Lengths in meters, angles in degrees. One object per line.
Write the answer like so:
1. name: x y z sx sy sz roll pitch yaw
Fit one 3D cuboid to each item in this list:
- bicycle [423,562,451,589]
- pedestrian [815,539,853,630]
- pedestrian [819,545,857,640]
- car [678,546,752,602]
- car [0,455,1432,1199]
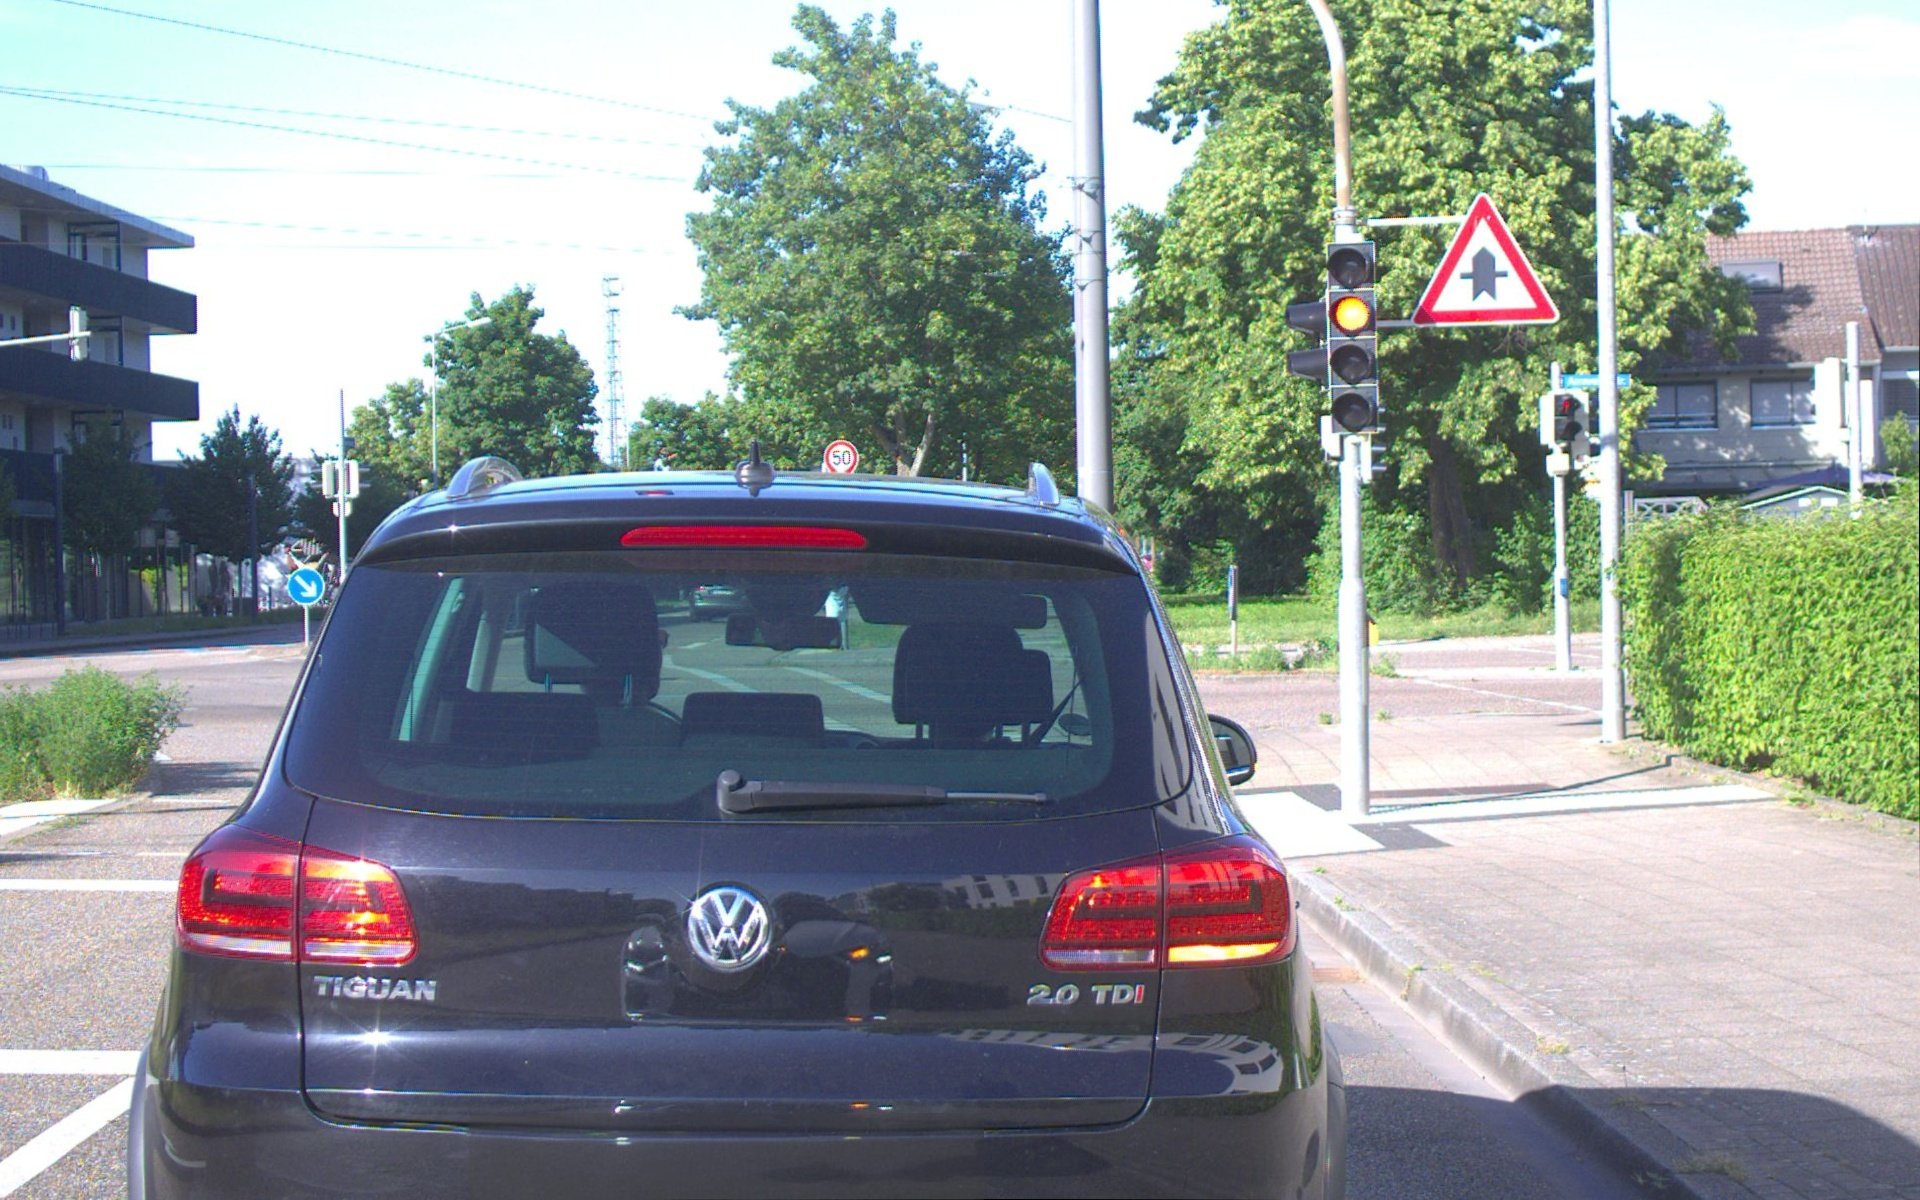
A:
1. bicycle: -16.929 -0.798 111.310 0.496 0.845 2.078 0 1 3
2. pedestrian: -2.164 -0.272 59.080 0.603 1.559 0.529 0 1 4
3. pedestrian: -2.111 -0.132 59.657 0.603 1.634 0.529 0 1 4
4. car: -6.324 -0.687 89.027 1.751 1.382 4.000 0 1 -2
5. car: -0.402 0.601 6.502 1.905 1.637 4.000 0 1 -2
